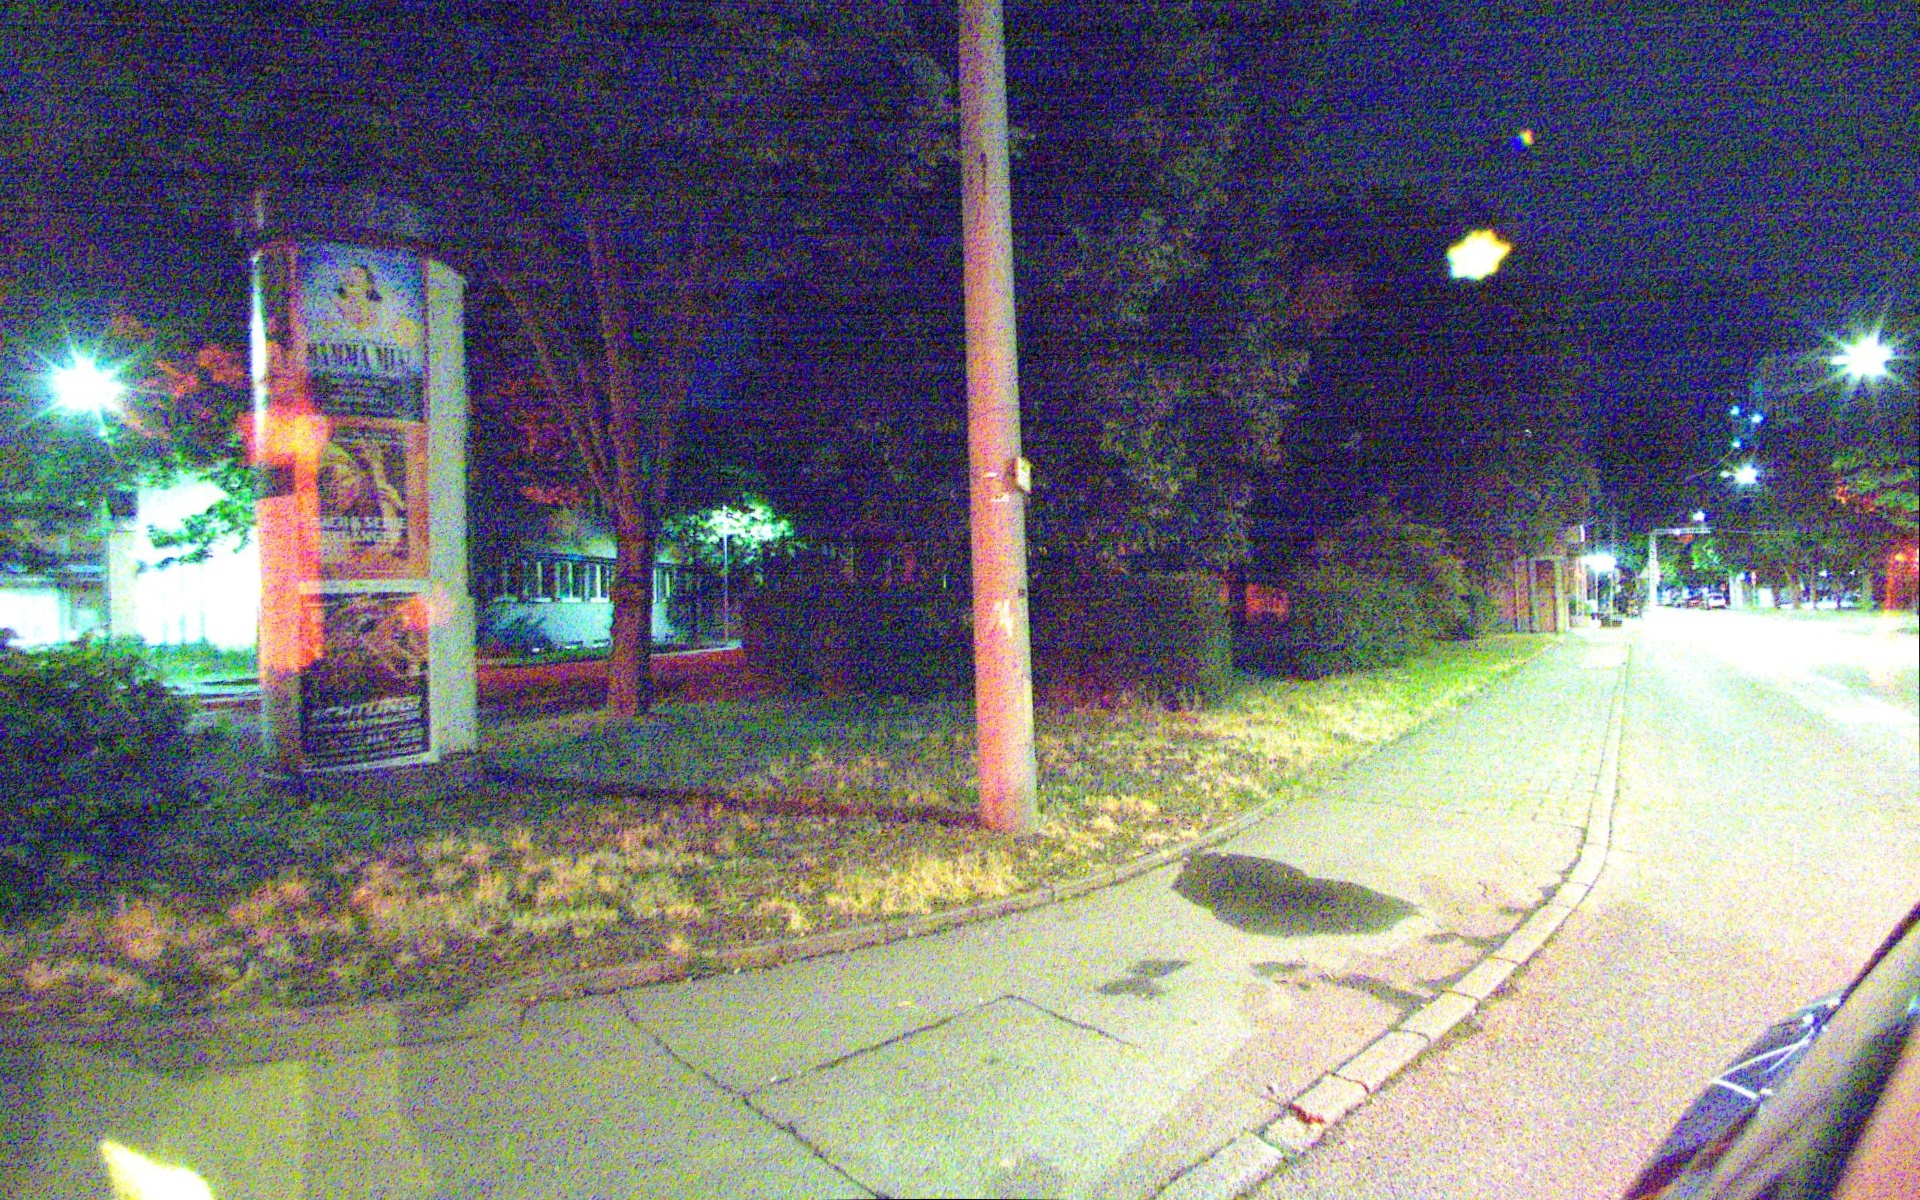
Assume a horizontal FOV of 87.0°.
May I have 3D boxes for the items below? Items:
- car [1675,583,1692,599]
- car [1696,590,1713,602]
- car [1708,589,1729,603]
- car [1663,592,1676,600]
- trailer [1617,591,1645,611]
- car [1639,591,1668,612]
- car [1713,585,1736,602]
[{"bbox_3d":[127.347,-1.581,178.122,1.990,2.540,4.898,-5,-3,32],"label":"car"},{"bbox_3d":[103.489,-0.579,140.696,1.815,1.668,3.684,-1,0,35],"label":"car"},{"bbox_3d":[91.693,-0.498,122.366,1.815,1.450,3.684,-5,-3,35],"label":"car"},{"bbox_3d":[141.212,-0.803,201.549,1.813,1.450,3.689,-5,-2,32],"label":"car"},{"bbox_3d":[54.011,0.041,81.410,1.596,1.514,3.683,-3,-2,37],"label":"trailer"},{"bbox_3d":[50.433,0.103,73.575,1.582,1.480,3.747,-3,-1,36],"label":"car"},{"bbox_3d":[88.643,-0.724,117.394,1.871,1.832,3.684,-5,-3,35],"label":"car"}]
